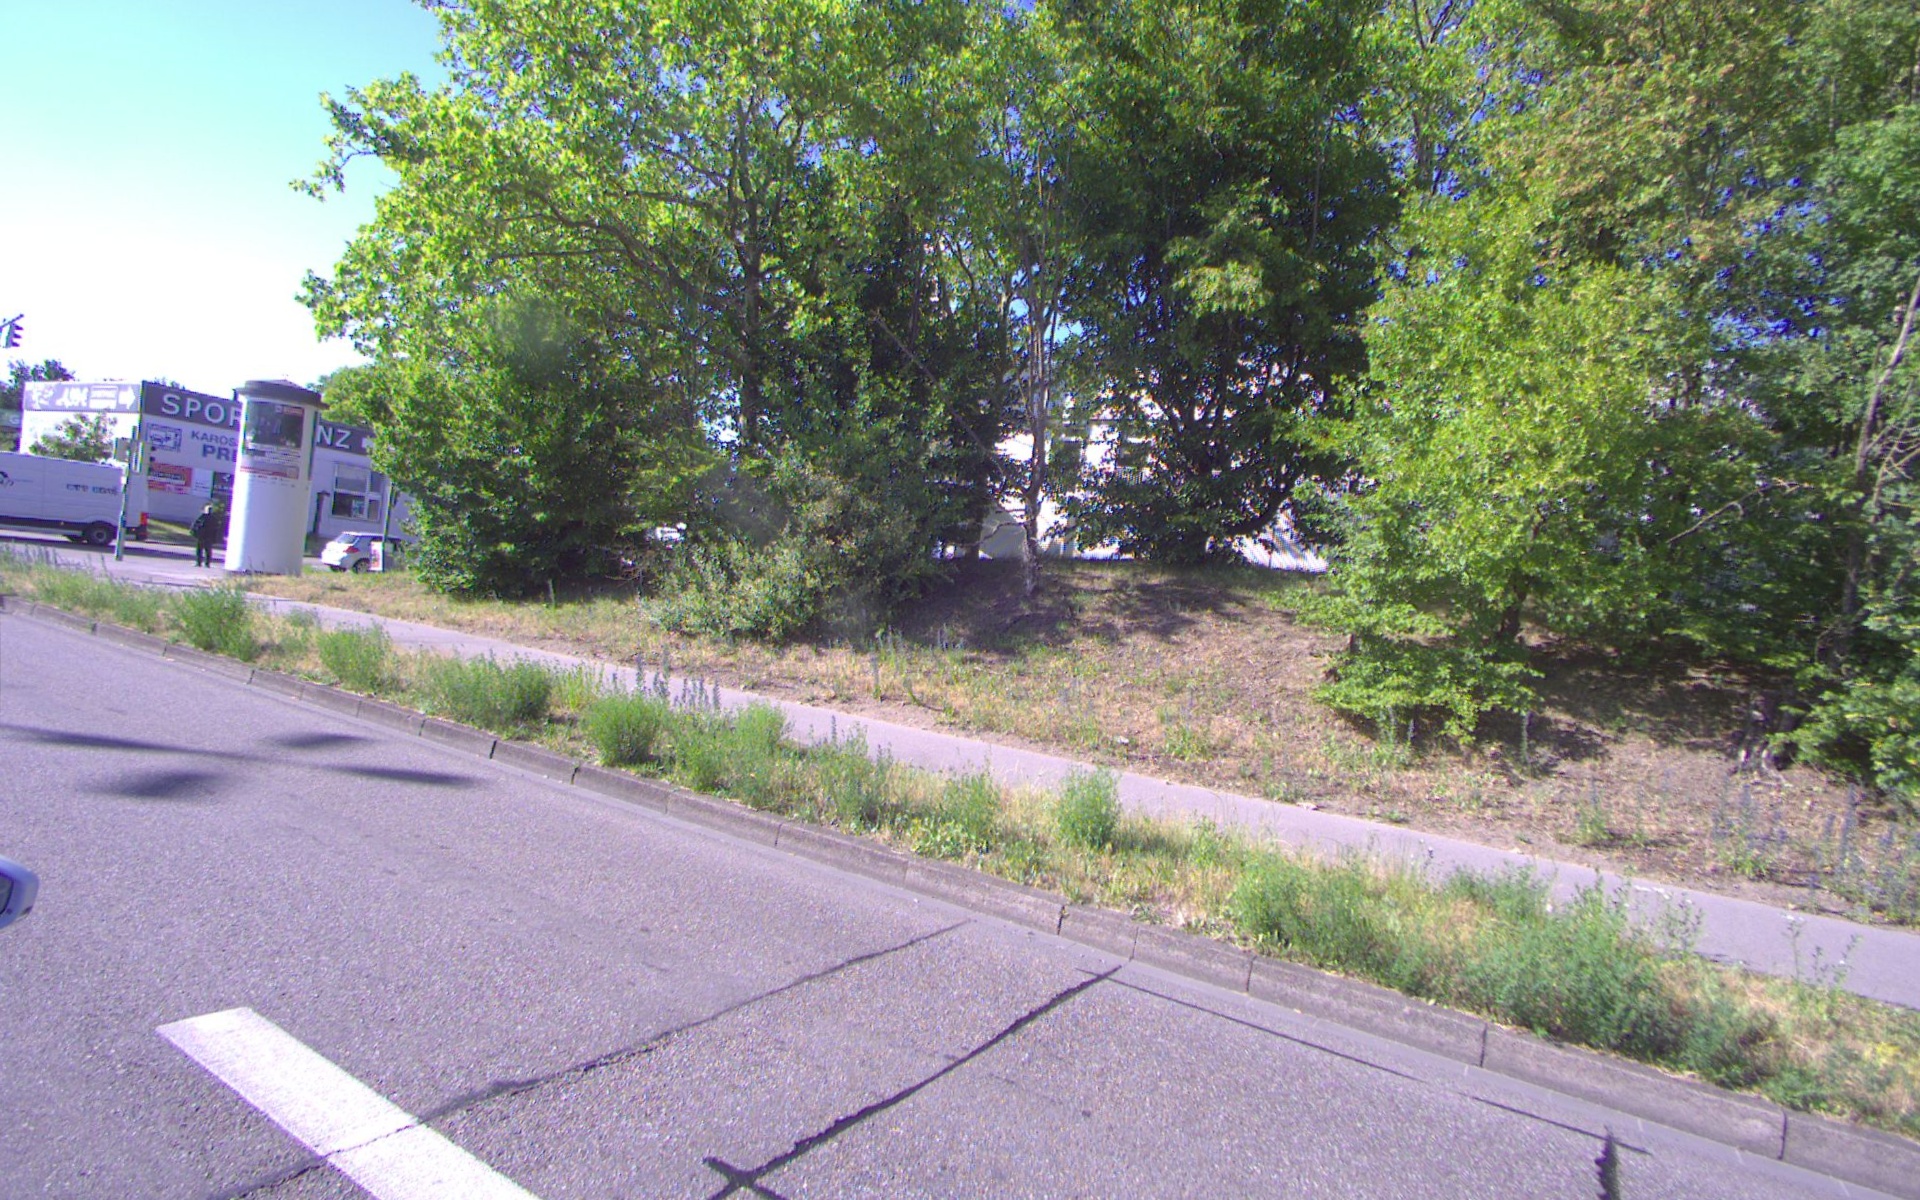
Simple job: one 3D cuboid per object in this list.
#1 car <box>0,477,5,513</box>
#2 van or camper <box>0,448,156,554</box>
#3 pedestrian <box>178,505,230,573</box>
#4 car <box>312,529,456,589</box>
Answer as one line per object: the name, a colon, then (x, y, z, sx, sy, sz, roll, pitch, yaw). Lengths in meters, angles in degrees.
car: (-48.301, -5.351, 47.688, 1.663, 1.726, 4.003, 7, -1, 16)
van or camper: (-28.636, -3.173, 30.044, 2.148, 2.603, 6.743, 7, -1, 31)
pedestrian: (-21.036, -1.702, 27.982, 0.841, 1.743, 0.822, 7, 0, 39)
car: (-20.273, -1.401, 35.556, 1.712, 1.494, 3.985, 7, -1, 31)
